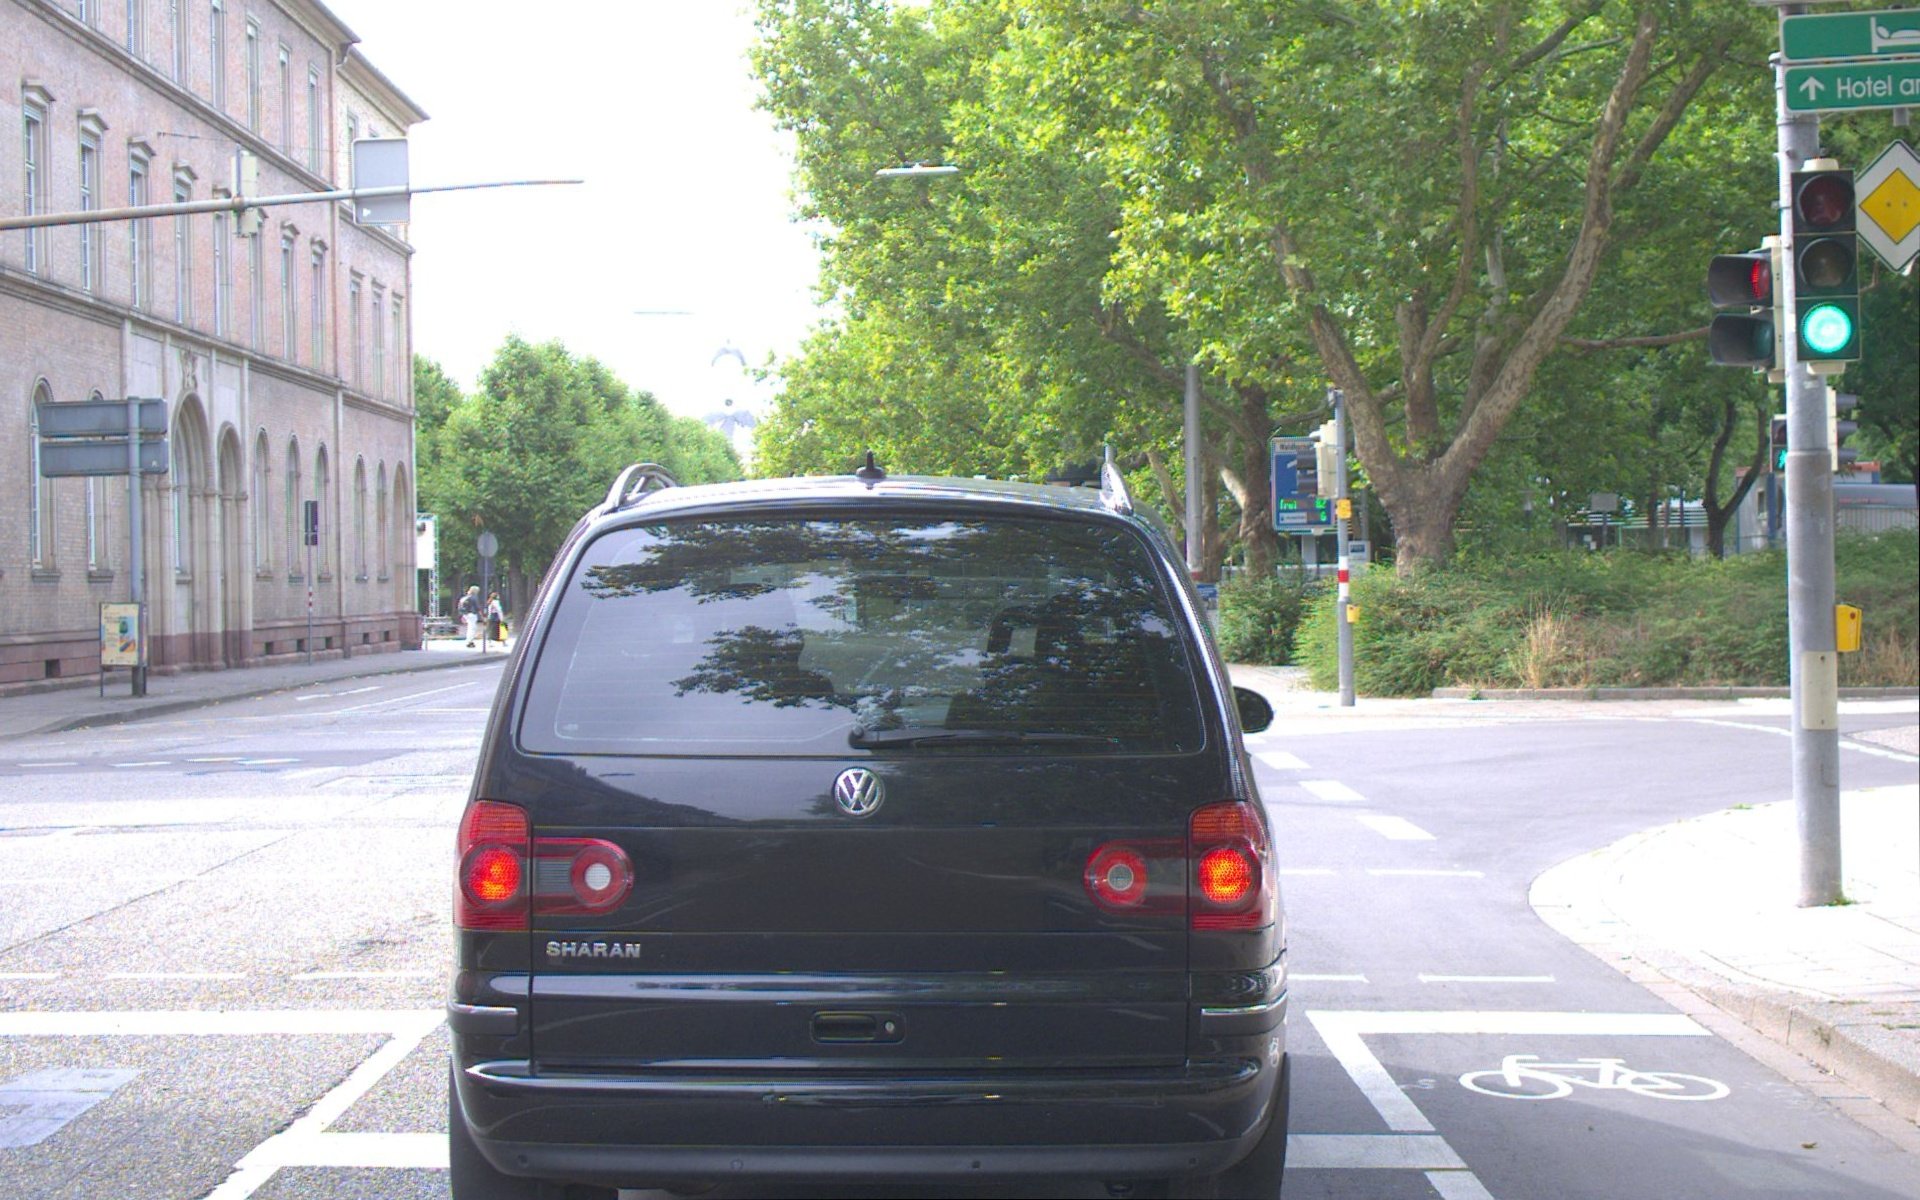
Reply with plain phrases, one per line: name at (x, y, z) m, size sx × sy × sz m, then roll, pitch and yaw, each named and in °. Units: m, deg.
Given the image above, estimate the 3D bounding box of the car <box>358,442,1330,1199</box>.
car at (-0.237, 0.552, 8.498) m, size 1.793 × 1.702 × 4.131 m, roll -1°, pitch 1°, yaw -1°

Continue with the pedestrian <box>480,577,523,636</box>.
pedestrian at (-12.806, 0.177, 96.076) m, size 0.897 × 1.636 × 0.851 m, roll 1°, pitch 0°, yaw 18°

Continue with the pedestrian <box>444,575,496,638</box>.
pedestrian at (-13.712, 0.165, 96.133) m, size 0.961 × 1.735 × 1.254 m, roll 1°, pitch 0°, yaw 18°
